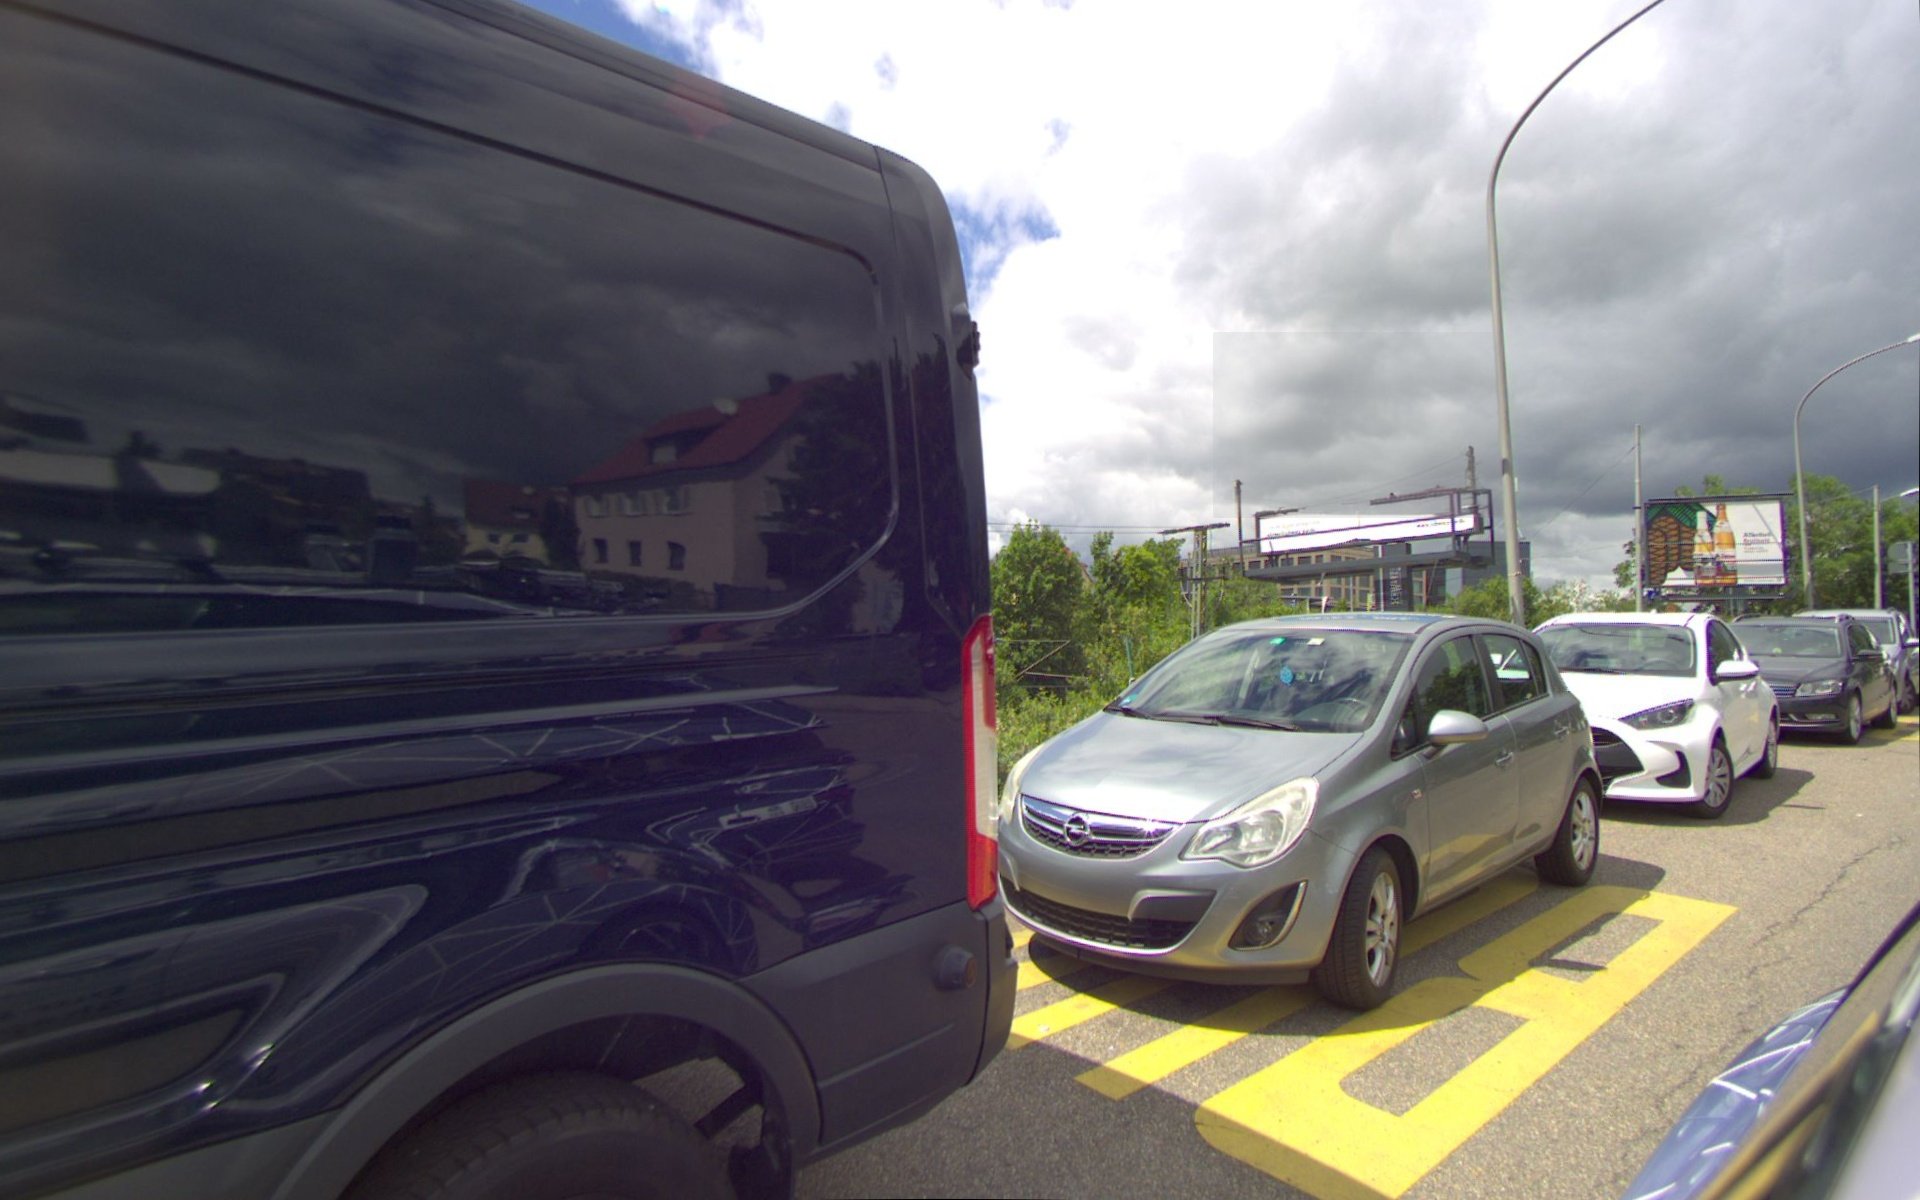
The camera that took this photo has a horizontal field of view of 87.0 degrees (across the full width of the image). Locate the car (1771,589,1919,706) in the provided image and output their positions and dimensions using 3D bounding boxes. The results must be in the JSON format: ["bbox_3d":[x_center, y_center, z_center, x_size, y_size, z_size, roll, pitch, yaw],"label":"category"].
[{"bbox_3d":[14.912,0.756,16.697,4.233,1.700,1.707,2,-3,-42],"label":"car"}]

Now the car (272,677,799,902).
[{"bbox_3d":[-3.926,1.613,9.916,4.451,1.530,1.707,2,-3,-42],"label":"car"}]

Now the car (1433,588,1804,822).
[{"bbox_3d":[5.633,0.738,8.469,3.890,1.499,1.707,2,-3,-43],"label":"car"}]

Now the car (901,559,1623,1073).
[{"bbox_3d":[1.657,0.703,4.902,3.632,1.530,1.707,2,-3,-42],"label":"car"}]

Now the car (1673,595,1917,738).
[{"bbox_3d":[10.660,0.767,12.799,4.494,1.506,1.707,2,-3,-42],"label":"car"}]

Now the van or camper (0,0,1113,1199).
[{"bbox_3d":[-2.515,0.154,1.091,5.815,2.618,2.127,1,-1,-42],"label":"van or camper"}]

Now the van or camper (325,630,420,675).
[{"bbox_3d":[-37.869,3.373,65.301,5.200,2.727,1.928,0,-3,-33],"label":"van or camper"}]
